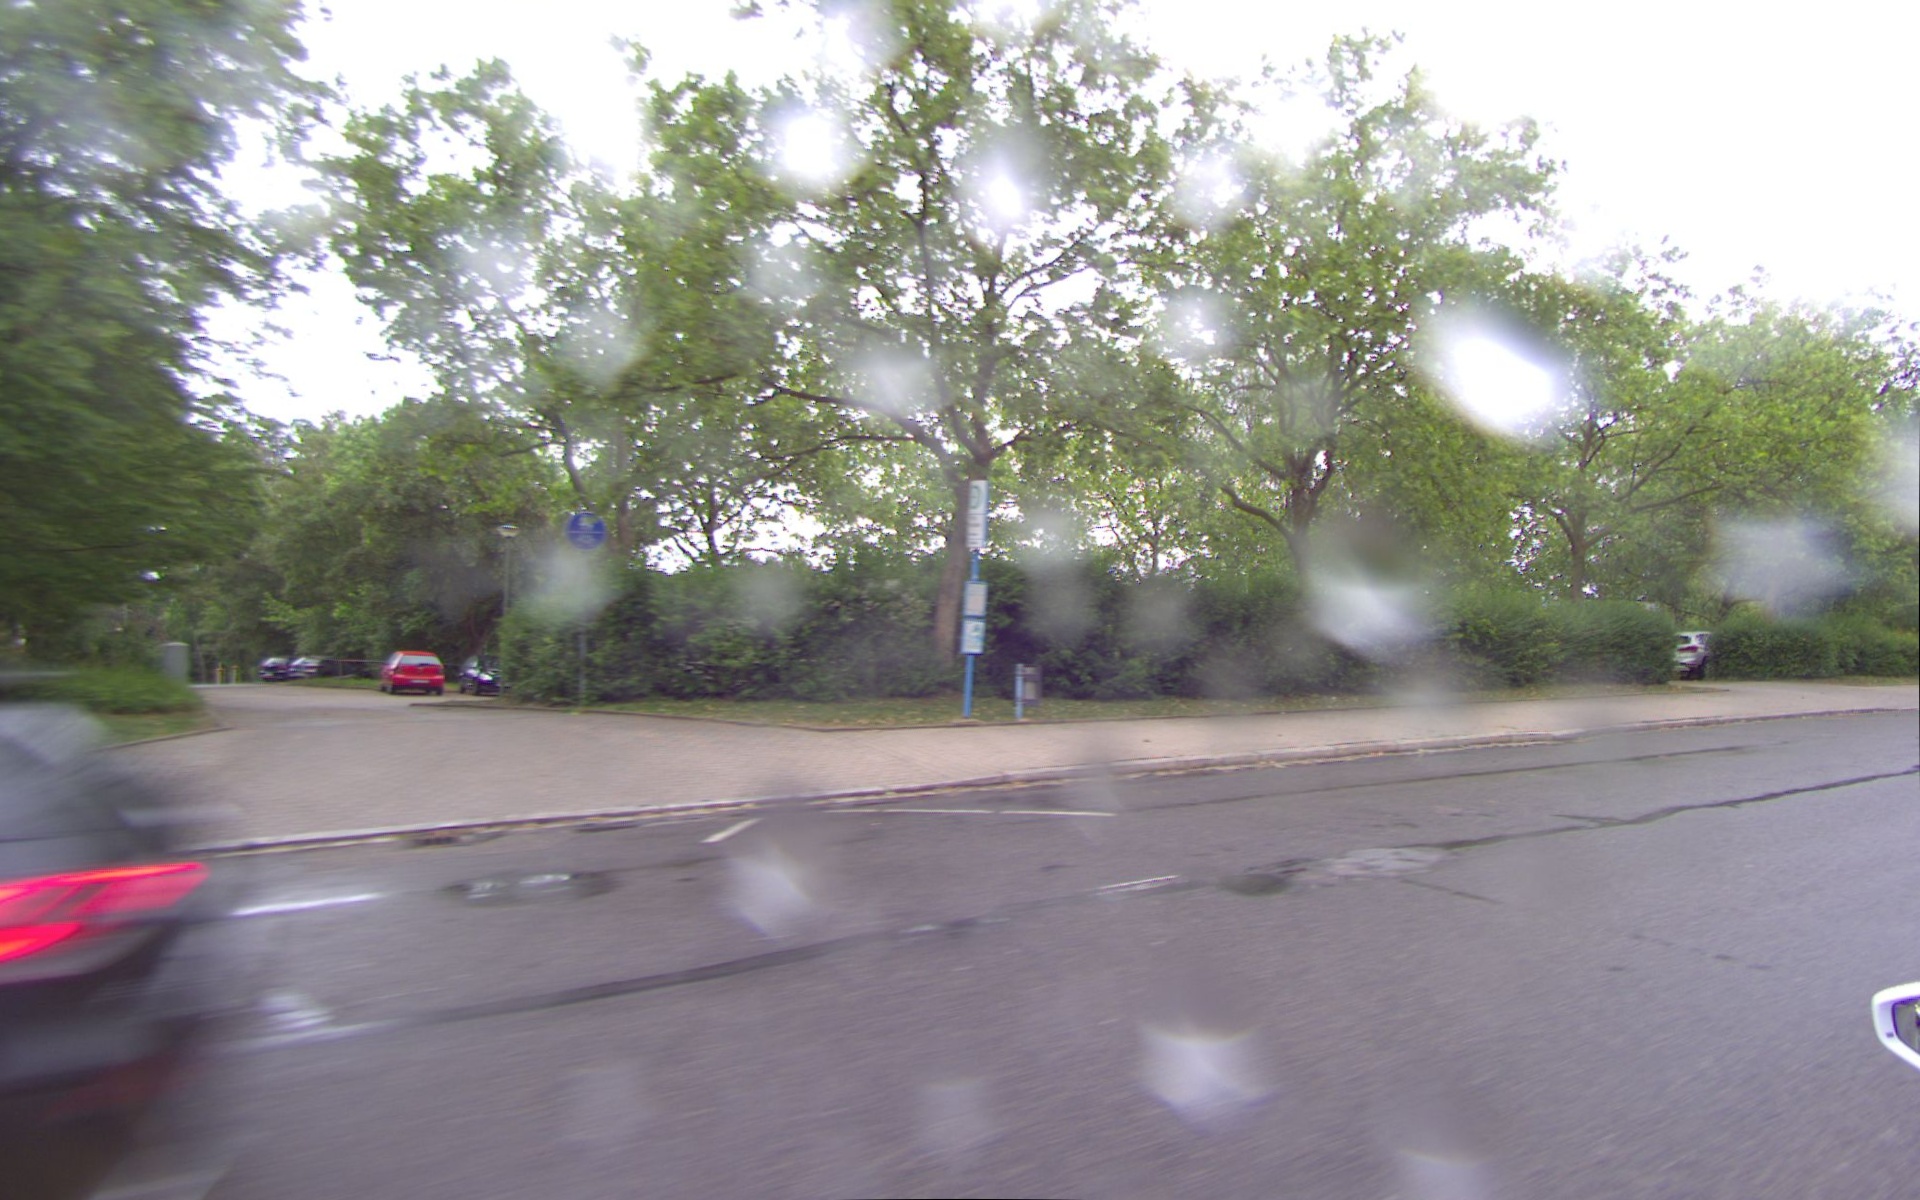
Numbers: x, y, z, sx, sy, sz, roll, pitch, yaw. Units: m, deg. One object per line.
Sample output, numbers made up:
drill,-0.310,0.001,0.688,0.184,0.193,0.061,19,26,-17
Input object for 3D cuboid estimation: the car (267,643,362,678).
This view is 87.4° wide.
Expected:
car,-32.851,3.106,51.249,1.763,1.529,4.005,2,-5,9

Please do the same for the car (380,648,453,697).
car,-19.043,2.510,35.130,1.782,1.529,3.964,6,-6,-33

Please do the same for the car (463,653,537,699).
car,-16.959,2.774,36.956,1.782,1.529,3.964,6,-6,-33

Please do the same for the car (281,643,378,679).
car,-31.135,3.067,49.767,1.763,1.529,4.005,2,-5,9

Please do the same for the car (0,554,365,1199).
car,-3.299,0.650,1.566,3.951,1.484,1.819,2,-3,-29

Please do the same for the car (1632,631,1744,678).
car,24.834,1.863,34.246,3.957,1.530,1.784,2,-4,-33
